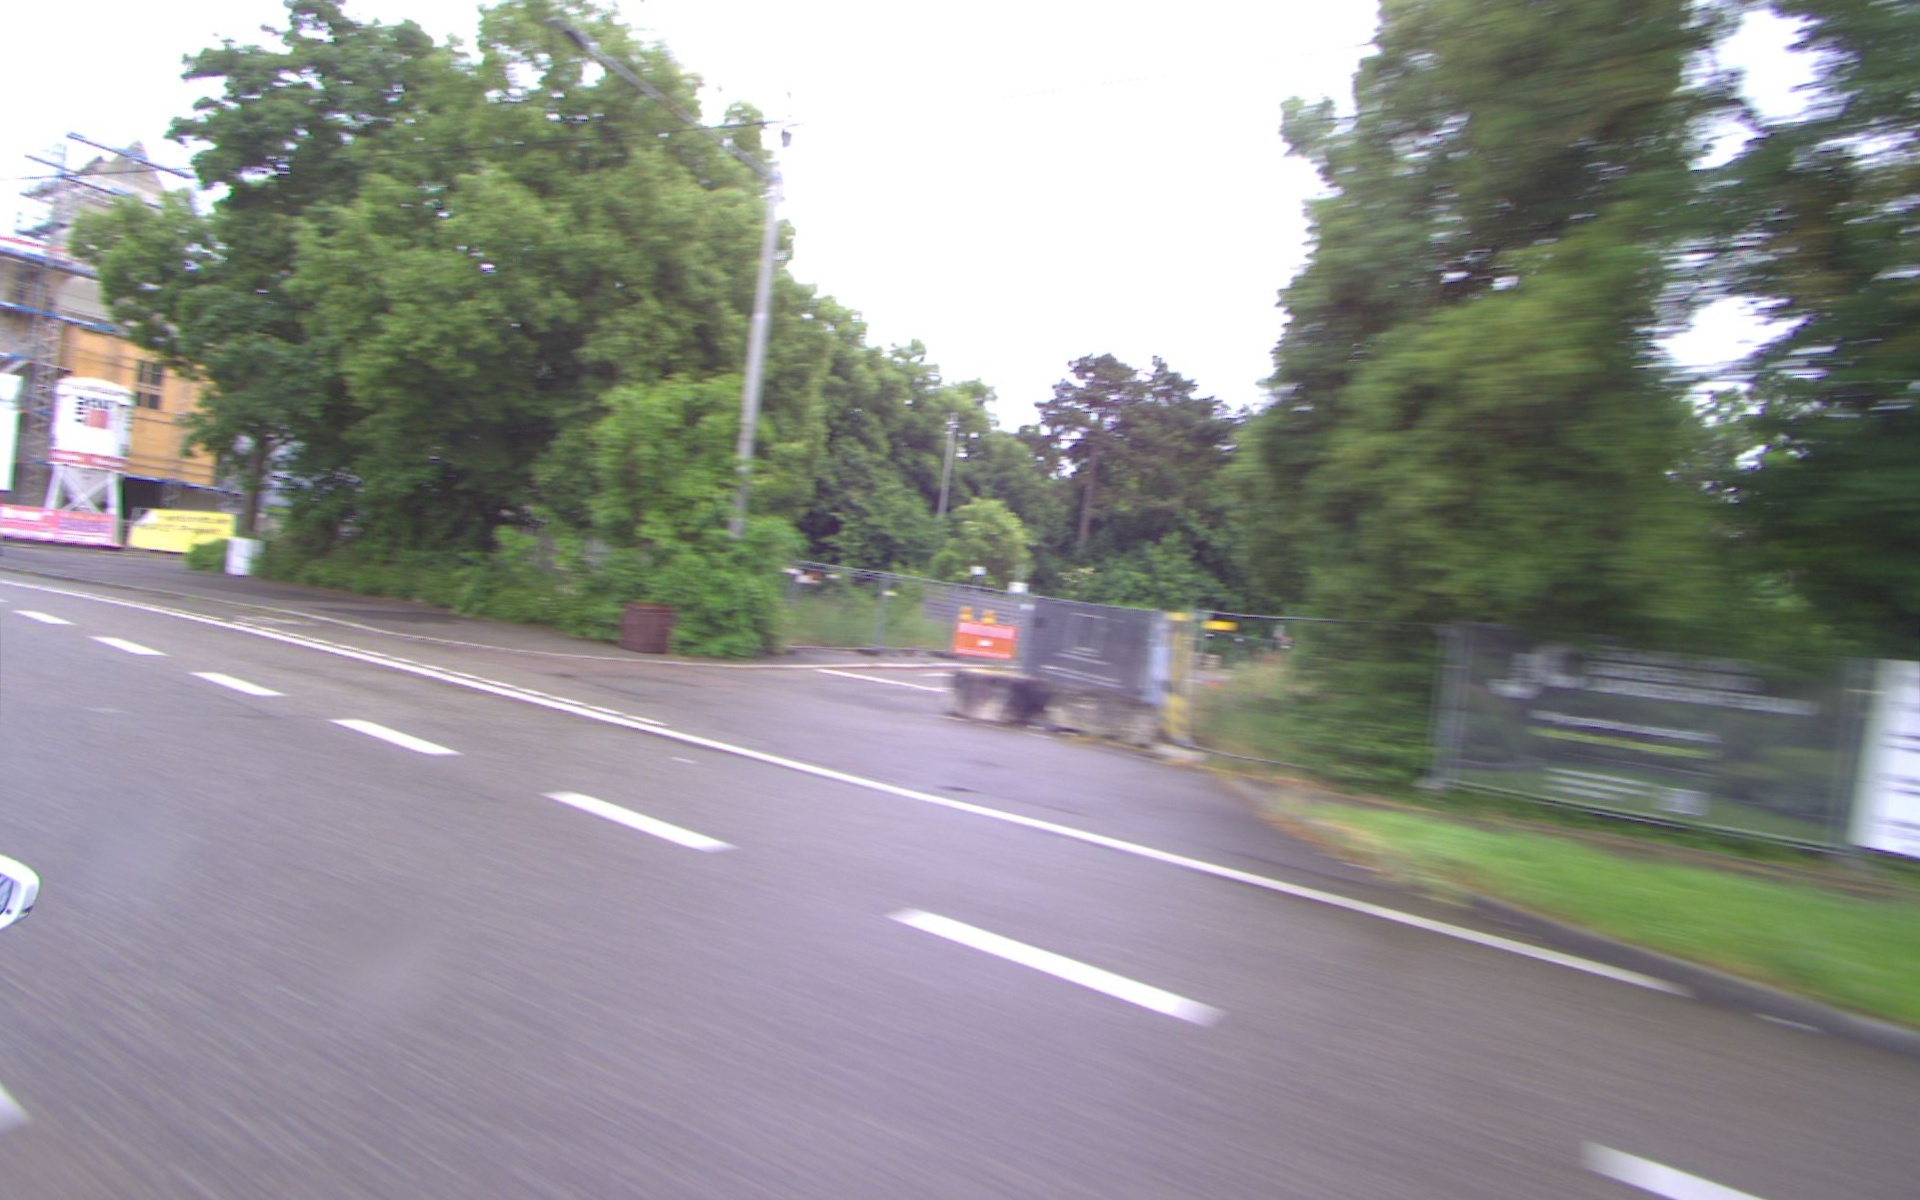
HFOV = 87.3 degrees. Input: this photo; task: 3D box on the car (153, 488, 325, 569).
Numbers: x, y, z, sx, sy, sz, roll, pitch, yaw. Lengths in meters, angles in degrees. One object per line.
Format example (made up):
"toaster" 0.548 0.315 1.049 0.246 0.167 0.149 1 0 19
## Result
"car" -23.467 -2.274 32.892 3.935 2.039 1.995 7 0 -12
